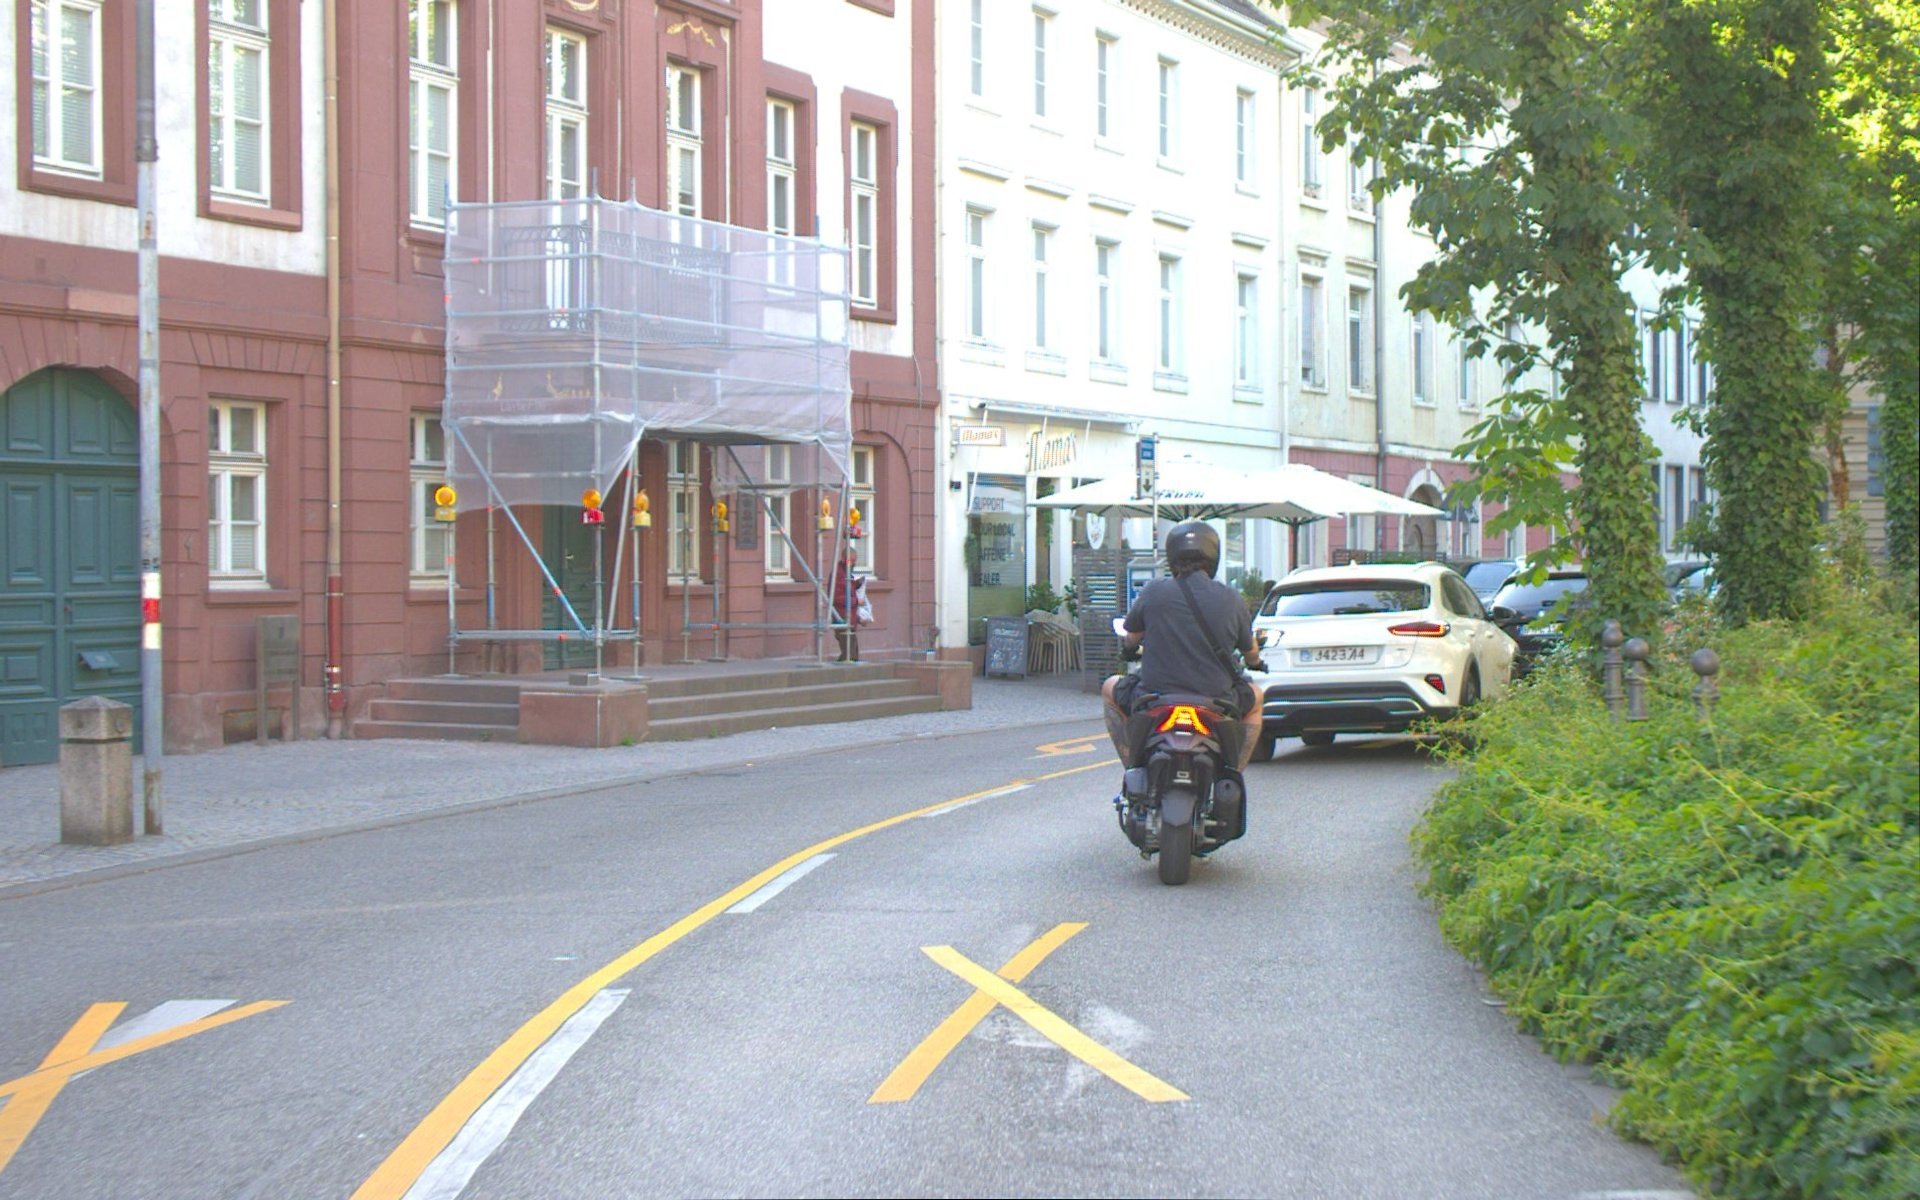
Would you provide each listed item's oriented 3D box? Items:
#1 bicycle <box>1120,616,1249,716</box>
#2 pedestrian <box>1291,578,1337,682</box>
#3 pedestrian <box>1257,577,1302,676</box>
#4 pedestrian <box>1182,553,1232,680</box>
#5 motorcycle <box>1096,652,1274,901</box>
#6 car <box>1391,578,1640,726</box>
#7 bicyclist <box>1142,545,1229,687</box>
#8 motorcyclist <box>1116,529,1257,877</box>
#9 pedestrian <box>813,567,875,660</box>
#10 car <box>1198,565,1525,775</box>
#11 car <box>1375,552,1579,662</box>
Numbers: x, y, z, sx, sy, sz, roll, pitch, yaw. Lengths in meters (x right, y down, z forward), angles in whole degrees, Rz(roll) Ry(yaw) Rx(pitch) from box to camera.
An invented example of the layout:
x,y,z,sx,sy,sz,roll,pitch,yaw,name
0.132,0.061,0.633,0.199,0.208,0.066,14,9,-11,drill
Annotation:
x,y,z,sx,sy,sz,roll,pitch,yaw,name
2.555,0.729,38.892,0.772,1.059,2.075,0,1,24,bicycle
4.878,0.407,47.418,0.471,1.428,0.501,0,1,28,pedestrian
4.549,0.374,48.959,0.524,1.386,0.488,0,1,20,pedestrian
3.489,0.227,48.598,0.438,1.769,0.596,0,1,36,pedestrian
1.073,0.811,16.400,0.796,1.062,1.725,0,1,4,motorcycle
6.095,0.516,37.368,1.842,1.458,4.053,1,1,21,car
2.552,0.172,38.873,0.745,1.578,0.794,1,1,24,bicyclist
1.096,0.482,16.572,0.657,1.645,0.650,0,1,5,motorcyclist
-1.324,0.152,39.325,0.537,1.049,0.551,1,1,19,pedestrian
3.238,0.481,27.049,1.852,1.475,4.054,1,1,17,car
8.389,0.091,55.404,1.924,1.674,4.779,-1,0,25,car
